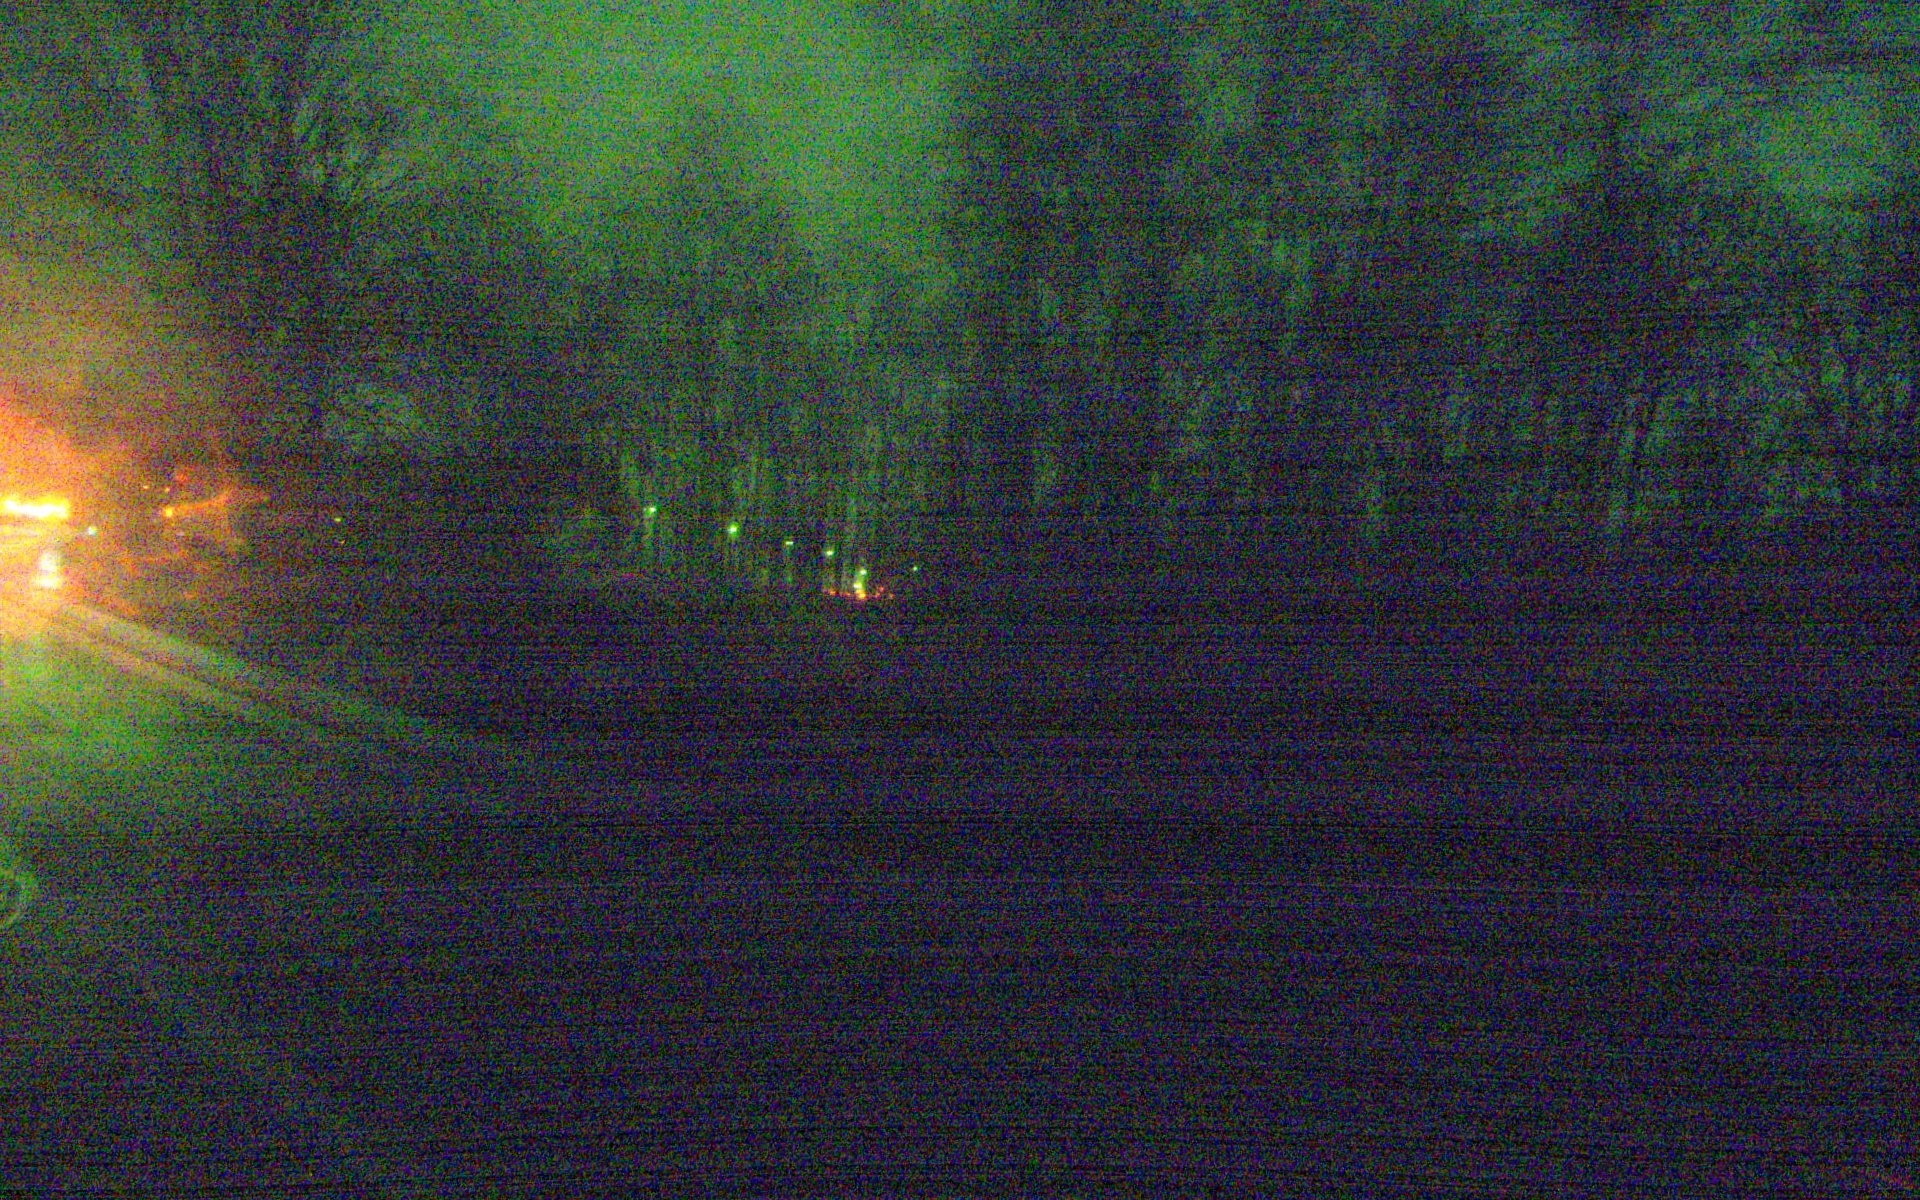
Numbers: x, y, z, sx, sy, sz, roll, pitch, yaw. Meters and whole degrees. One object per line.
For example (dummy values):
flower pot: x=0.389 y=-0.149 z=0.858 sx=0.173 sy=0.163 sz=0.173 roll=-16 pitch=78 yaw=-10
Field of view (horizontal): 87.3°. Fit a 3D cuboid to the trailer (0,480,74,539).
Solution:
trailer: x=-39.698 y=-3.757 z=43.170 sx=2.067 sy=2.039 sz=10.534 roll=4 pitch=0 yaw=-40
